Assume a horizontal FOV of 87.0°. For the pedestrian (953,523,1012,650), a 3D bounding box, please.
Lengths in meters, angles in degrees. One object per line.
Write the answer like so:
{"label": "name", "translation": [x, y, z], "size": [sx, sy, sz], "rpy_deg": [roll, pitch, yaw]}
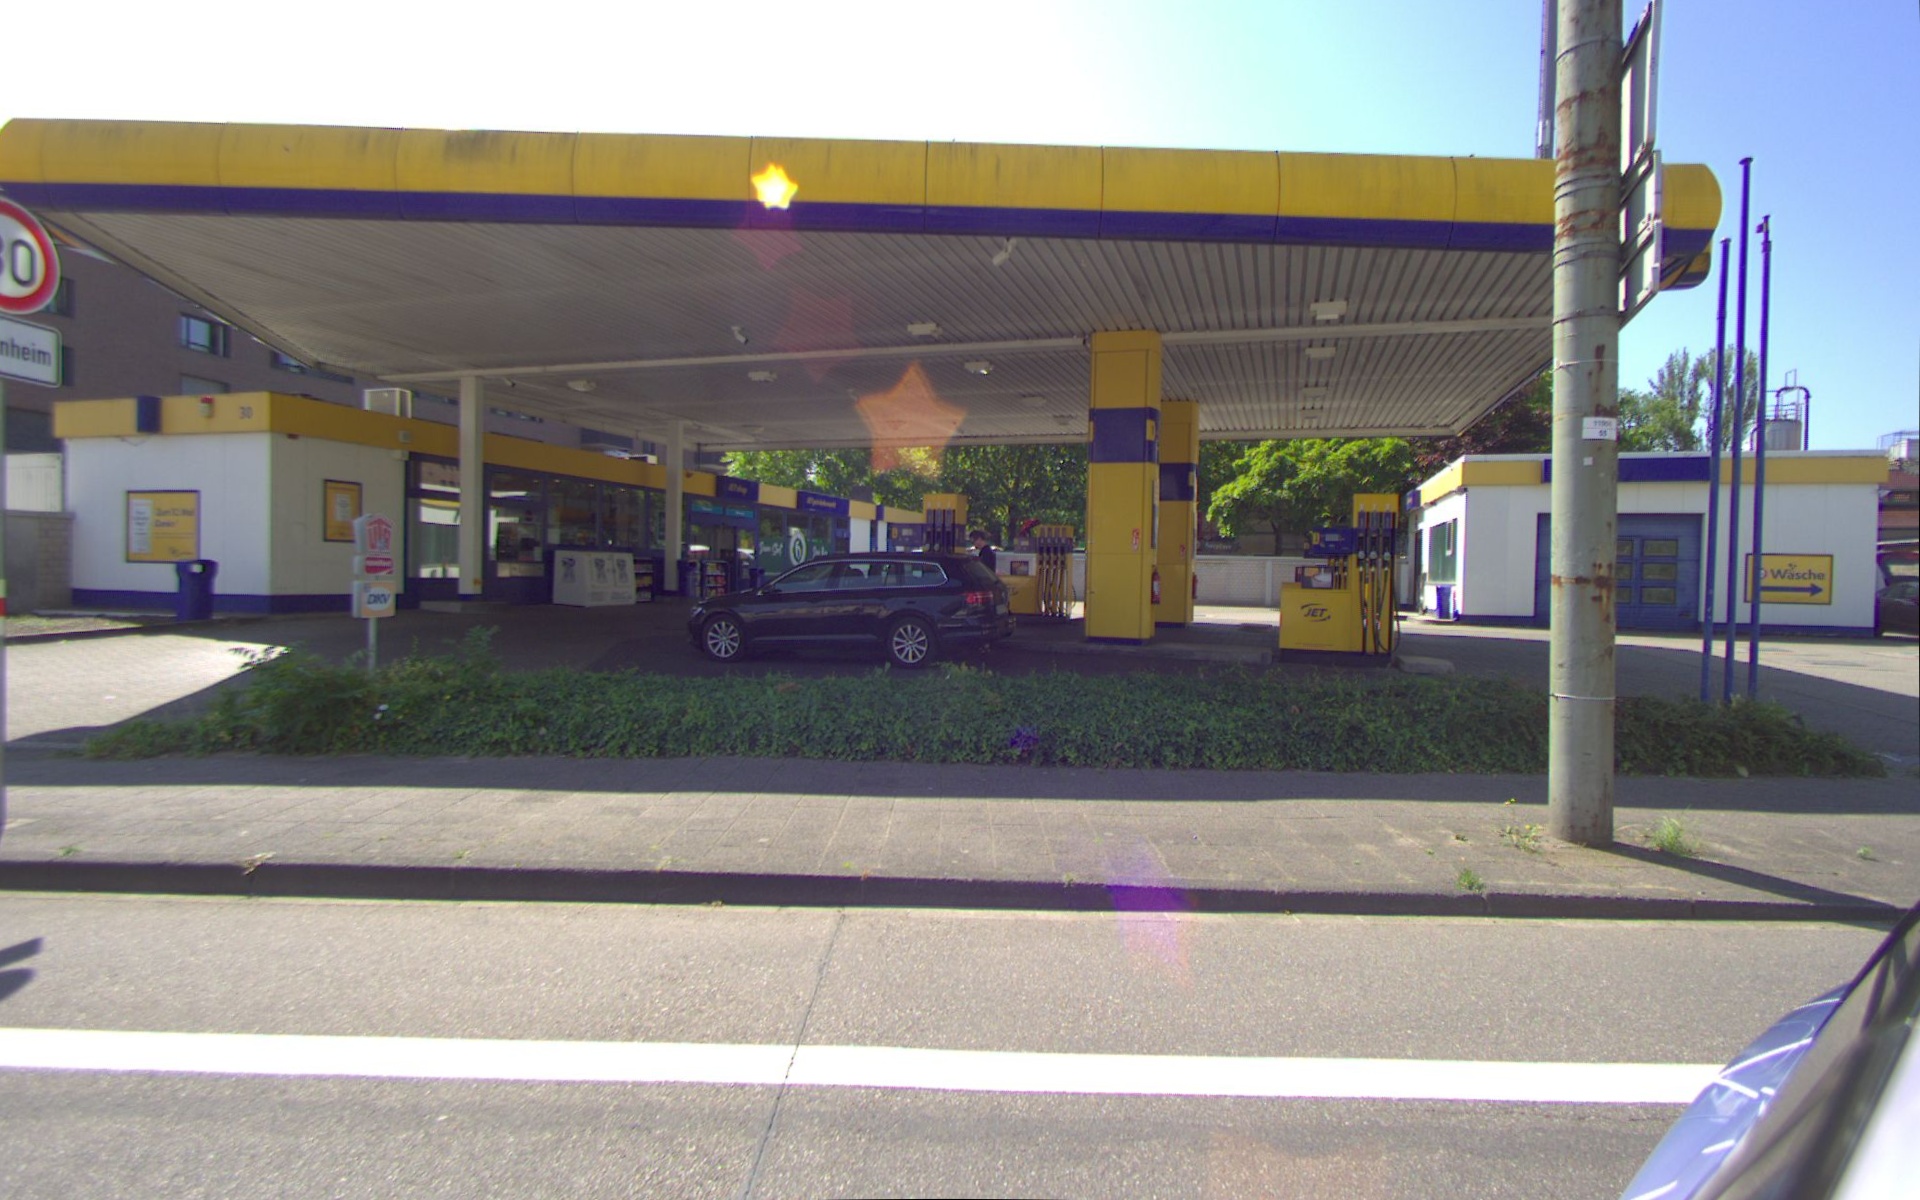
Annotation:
{"label": "pedestrian", "translation": [0.310, -0.202, 14.491], "size": [0.730, 1.746, 0.859], "rpy_deg": [1, 2, -3]}

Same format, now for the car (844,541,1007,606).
{"label": "car", "translation": [-1.161, -0.934, 34.385], "size": [5.231, 2.007, 1.754], "rpy_deg": [2, 2, 15]}

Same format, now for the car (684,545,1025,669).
{"label": "car", "translation": [-1.421, 0.010, 13.959], "size": [4.351, 1.472, 1.753], "rpy_deg": [1, 5, 19]}

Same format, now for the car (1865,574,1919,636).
{"label": "car", "translation": [23.875, 0.119, 24.104], "size": [1.869, 1.478, 4.528], "rpy_deg": [0, 2, 20]}

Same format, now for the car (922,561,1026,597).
{"label": "car", "translation": [0.609, -0.924, 42.646], "size": [4.076, 1.377, 1.752], "rpy_deg": [2, 2, 17]}
